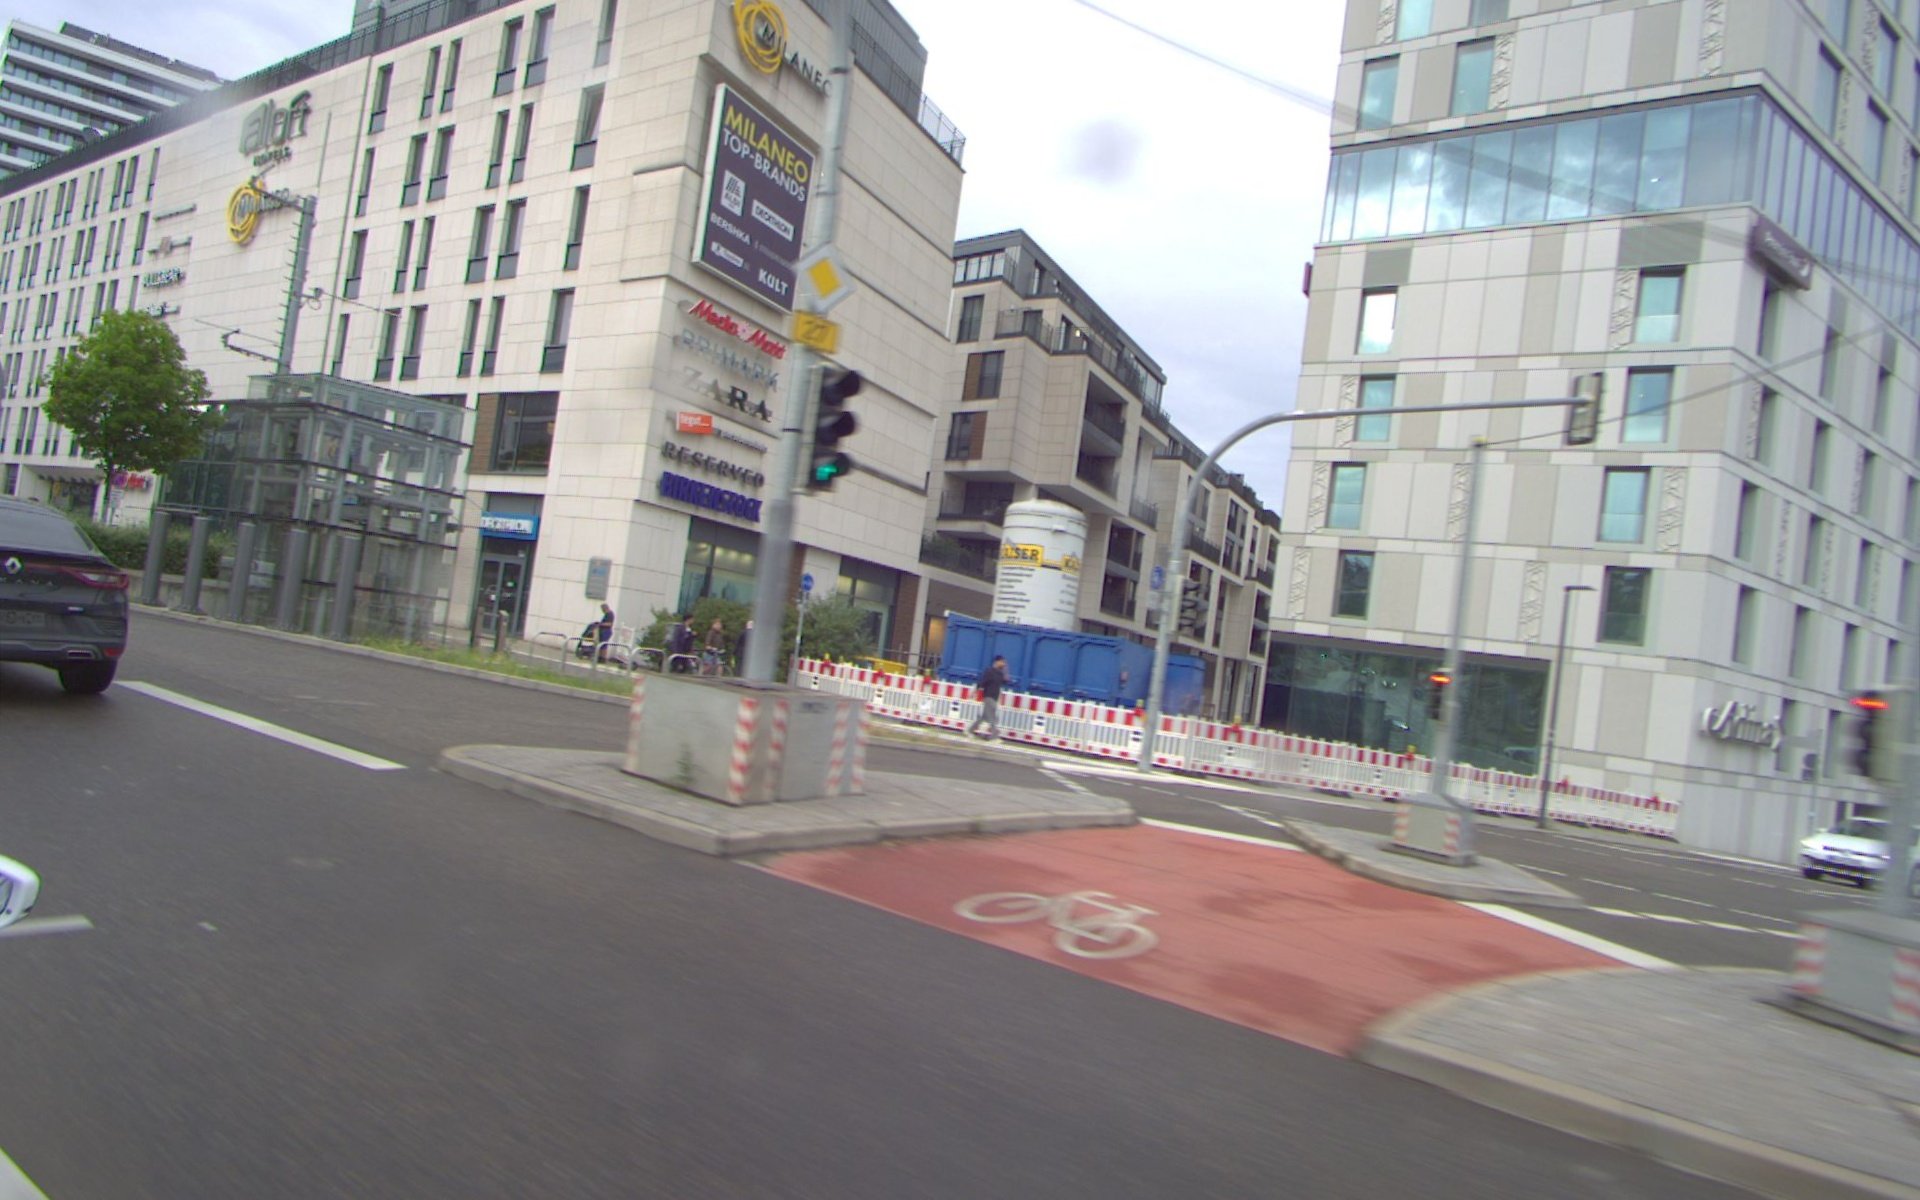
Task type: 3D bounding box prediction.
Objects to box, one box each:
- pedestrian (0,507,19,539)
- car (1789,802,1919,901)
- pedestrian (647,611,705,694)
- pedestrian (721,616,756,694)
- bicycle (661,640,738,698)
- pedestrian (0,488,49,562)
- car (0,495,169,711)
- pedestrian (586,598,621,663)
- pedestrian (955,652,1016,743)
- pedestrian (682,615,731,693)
[{"bbox_3d":[-50.263,-4.072,53.031,0.714,1.546,0.675,6,-1,32],"label":"pedestrian"},{"bbox_3d":[18.634,5.106,20.208,3.963,1.448,1.731,12,-4,-31],"label":"car"},{"bbox_3d":[-6.027,1.119,21.342,0.805,1.629,0.614,6,-1,32],"label":"pedestrian"},{"bbox_3d":[-5.341,1.320,24.239,0.585,1.801,0.440,7,-1,-10],"label":"pedestrian"},{"bbox_3d":[-5.629,1.487,21.718,1.713,1.027,0.450,6,-1,32],"label":"bicycle"},{"bbox_3d":[-24.920,-1.990,26.765,0.502,1.853,0.729,6,-1,31],"label":"pedestrian"},{"bbox_3d":[-8.714,-0.194,8.423,4.266,1.524,1.795,8,-1,31],"label":"car"},{"bbox_3d":[-9.637,0.819,27.174,0.590,1.661,0.583,8,-1,-34],"label":"pedestrian"},{"bbox_3d":[0.510,1.944,20.050,0.810,1.691,0.622,6,-1,32],"label":"pedestrian"},{"bbox_3d":[-5.566,1.189,22.107,0.687,1.630,0.551,6,-1,32],"label":"pedestrian"}]
